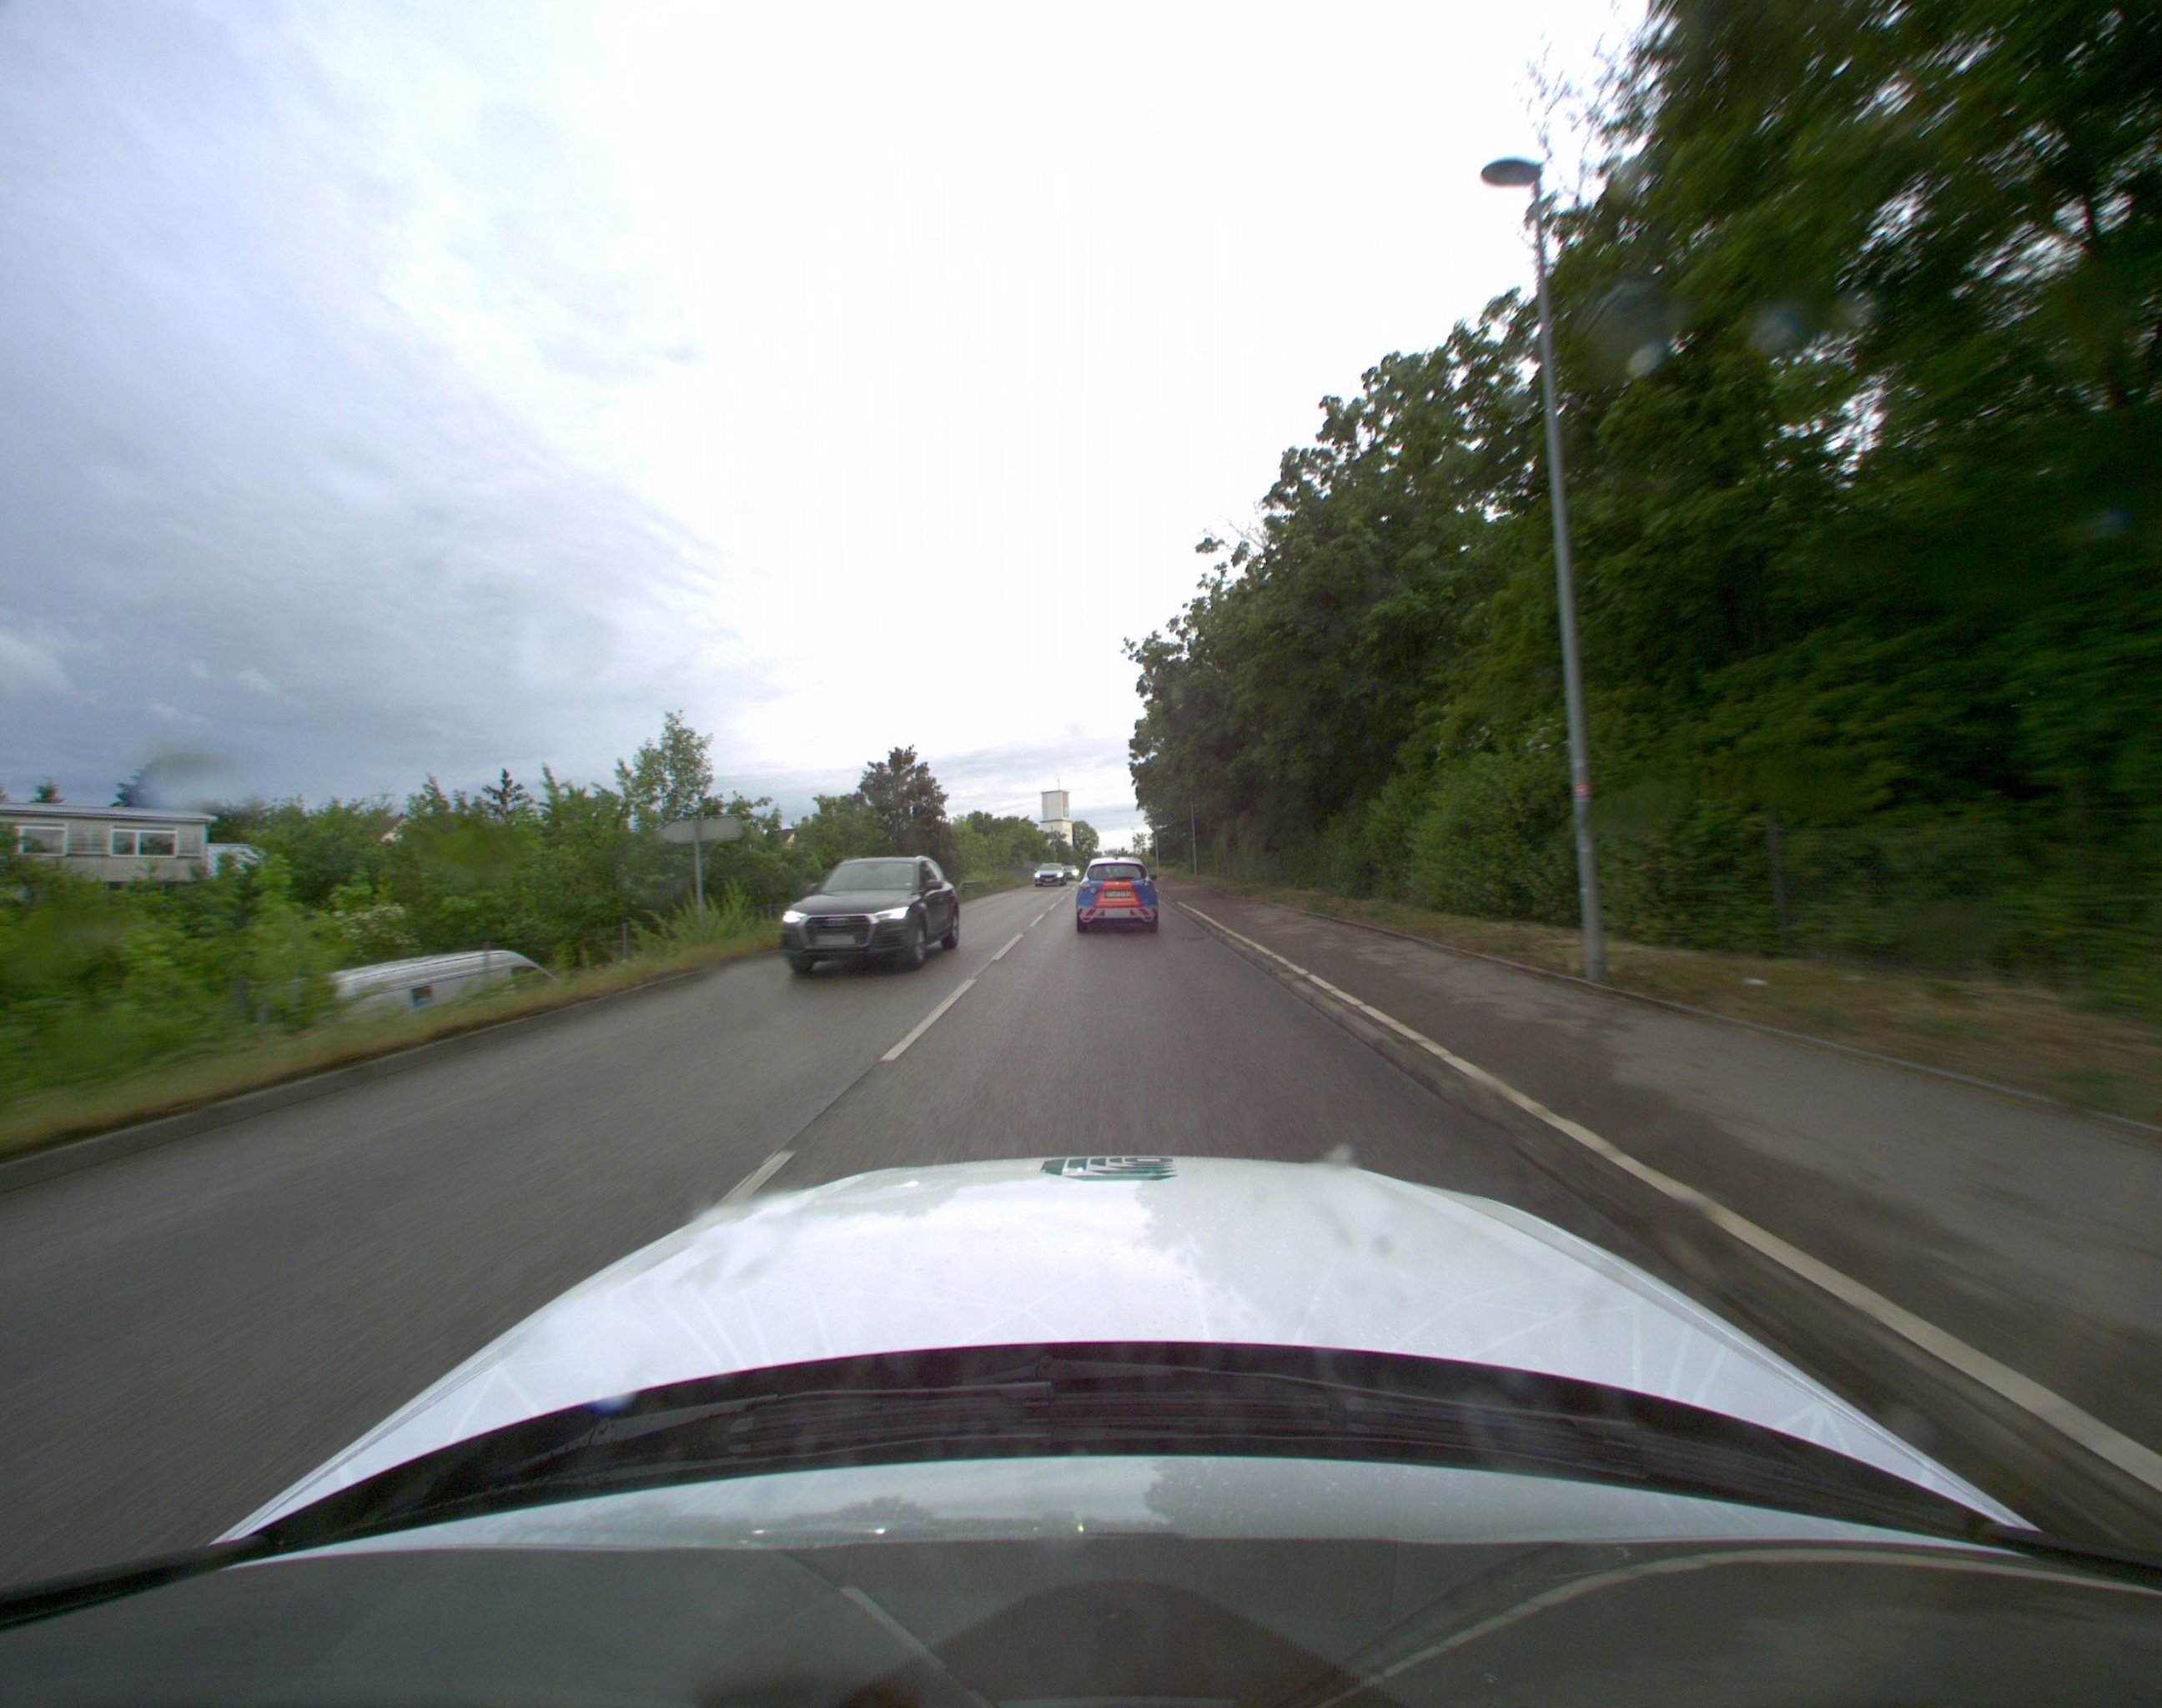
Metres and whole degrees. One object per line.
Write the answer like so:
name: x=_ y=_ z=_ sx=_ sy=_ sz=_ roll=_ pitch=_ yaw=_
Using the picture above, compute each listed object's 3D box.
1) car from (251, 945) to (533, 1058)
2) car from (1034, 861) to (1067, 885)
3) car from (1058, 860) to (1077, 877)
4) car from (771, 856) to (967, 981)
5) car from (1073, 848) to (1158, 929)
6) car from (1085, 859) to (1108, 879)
car: x=-13.679 y=2.864 z=16.530 sx=1.640 sy=1.523 sz=4.083 roll=-4 pitch=-1 yaw=15
car: x=-2.013 y=1.222 z=54.904 sx=1.855 sy=1.503 sz=4.729 roll=-2 pitch=-1 yaw=1
car: x=-1.312 y=1.454 z=80.920 sx=1.724 sy=1.585 sz=4.081 roll=-2 pitch=-1 yaw=1
car: x=-3.127 y=0.865 z=13.024 sx=1.862 sy=1.585 sz=4.414 roll=-2 pitch=0 yaw=1
car: x=0.742 y=0.737 z=18.203 sx=1.651 sy=1.593 sz=3.569 roll=-2 pitch=-2 yaw=1
car: x=1.319 y=1.249 z=68.984 sx=1.796 sy=1.590 sz=3.563 roll=-3 pitch=-1 yaw=1
